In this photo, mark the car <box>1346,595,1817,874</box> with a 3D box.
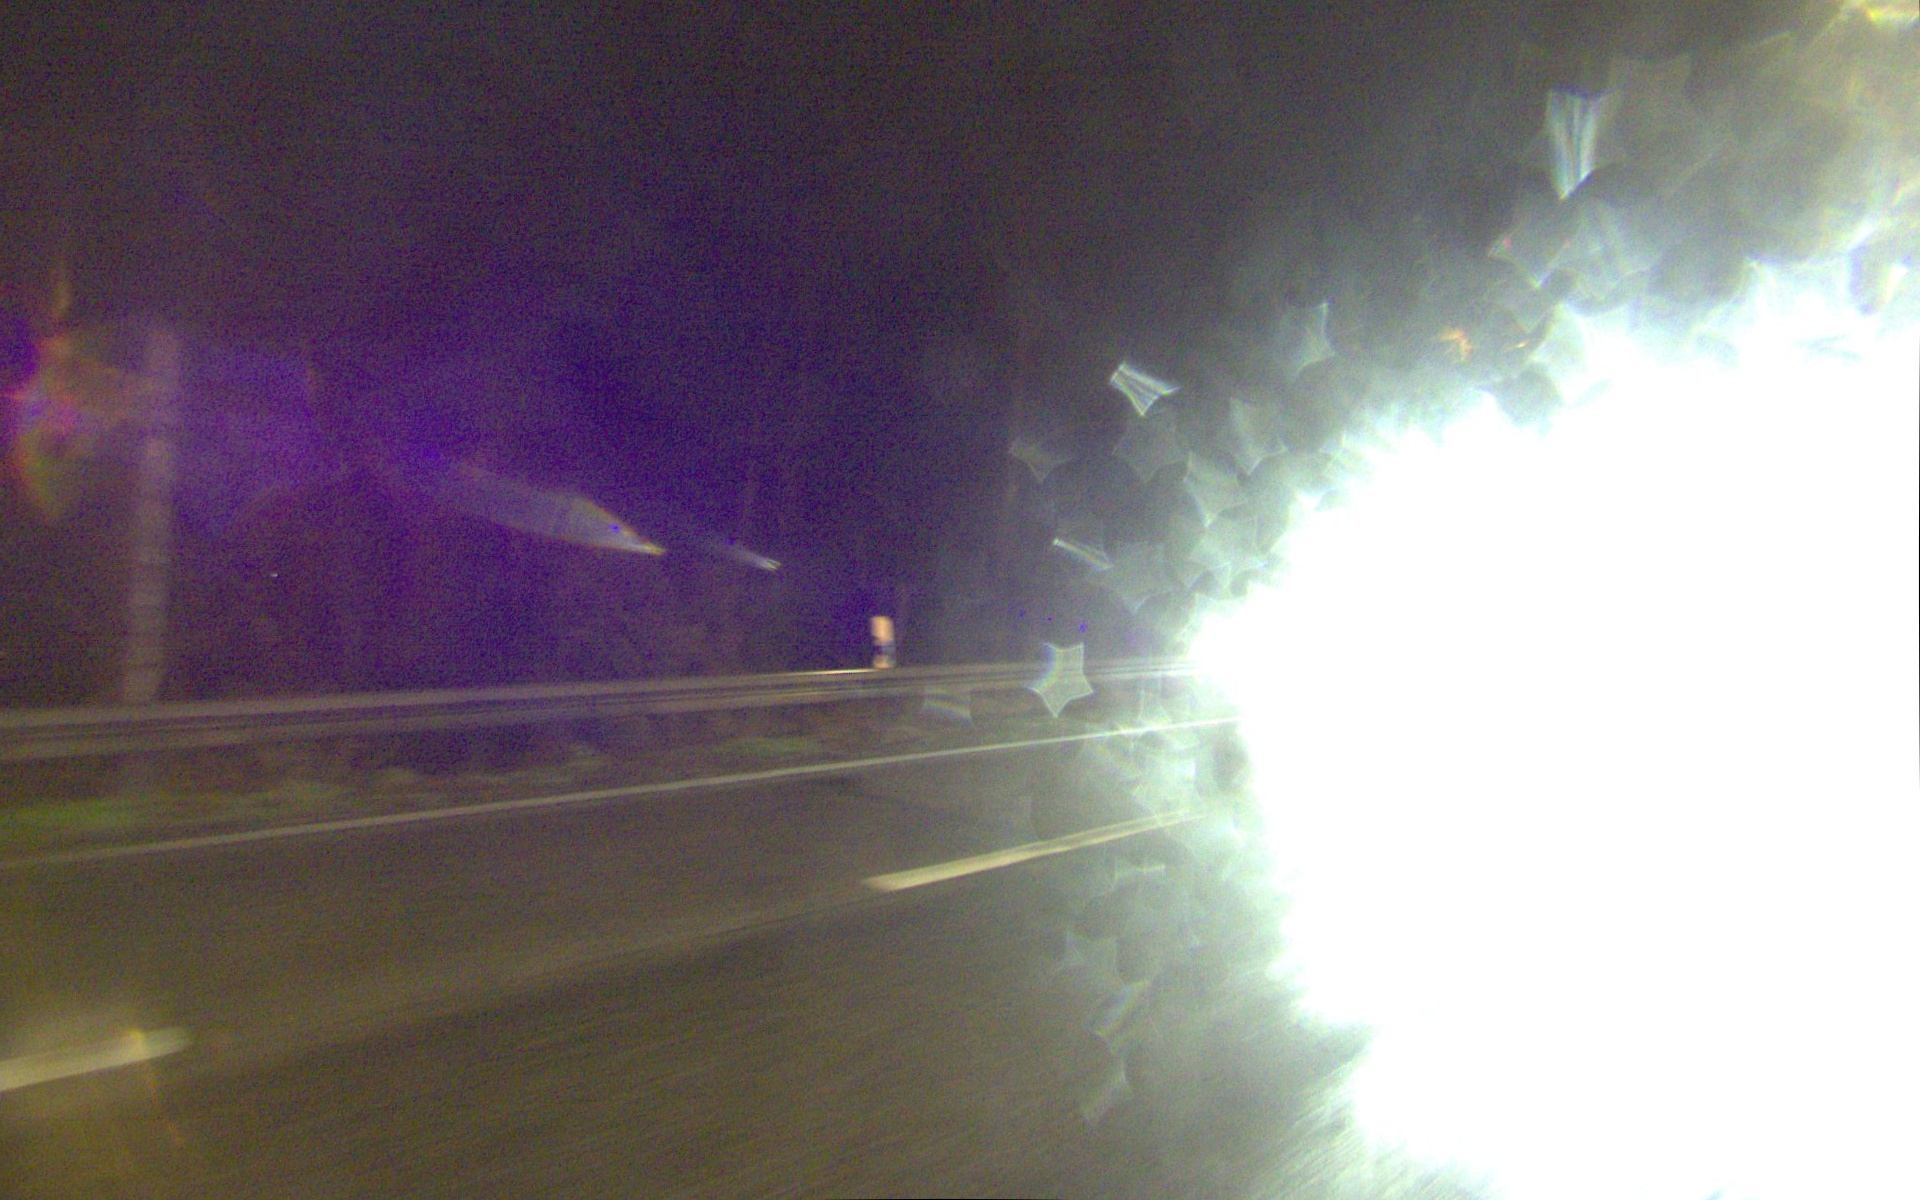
[{"bbox_3d":[4.850,0.709,7.562,4.643,1.467,1.734,0,0,-42],"label":"car"}]

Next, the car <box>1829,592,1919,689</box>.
[{"bbox_3d":[16.429,0.612,17.179,4.486,1.503,1.825,0,0,-40],"label":"car"}]
